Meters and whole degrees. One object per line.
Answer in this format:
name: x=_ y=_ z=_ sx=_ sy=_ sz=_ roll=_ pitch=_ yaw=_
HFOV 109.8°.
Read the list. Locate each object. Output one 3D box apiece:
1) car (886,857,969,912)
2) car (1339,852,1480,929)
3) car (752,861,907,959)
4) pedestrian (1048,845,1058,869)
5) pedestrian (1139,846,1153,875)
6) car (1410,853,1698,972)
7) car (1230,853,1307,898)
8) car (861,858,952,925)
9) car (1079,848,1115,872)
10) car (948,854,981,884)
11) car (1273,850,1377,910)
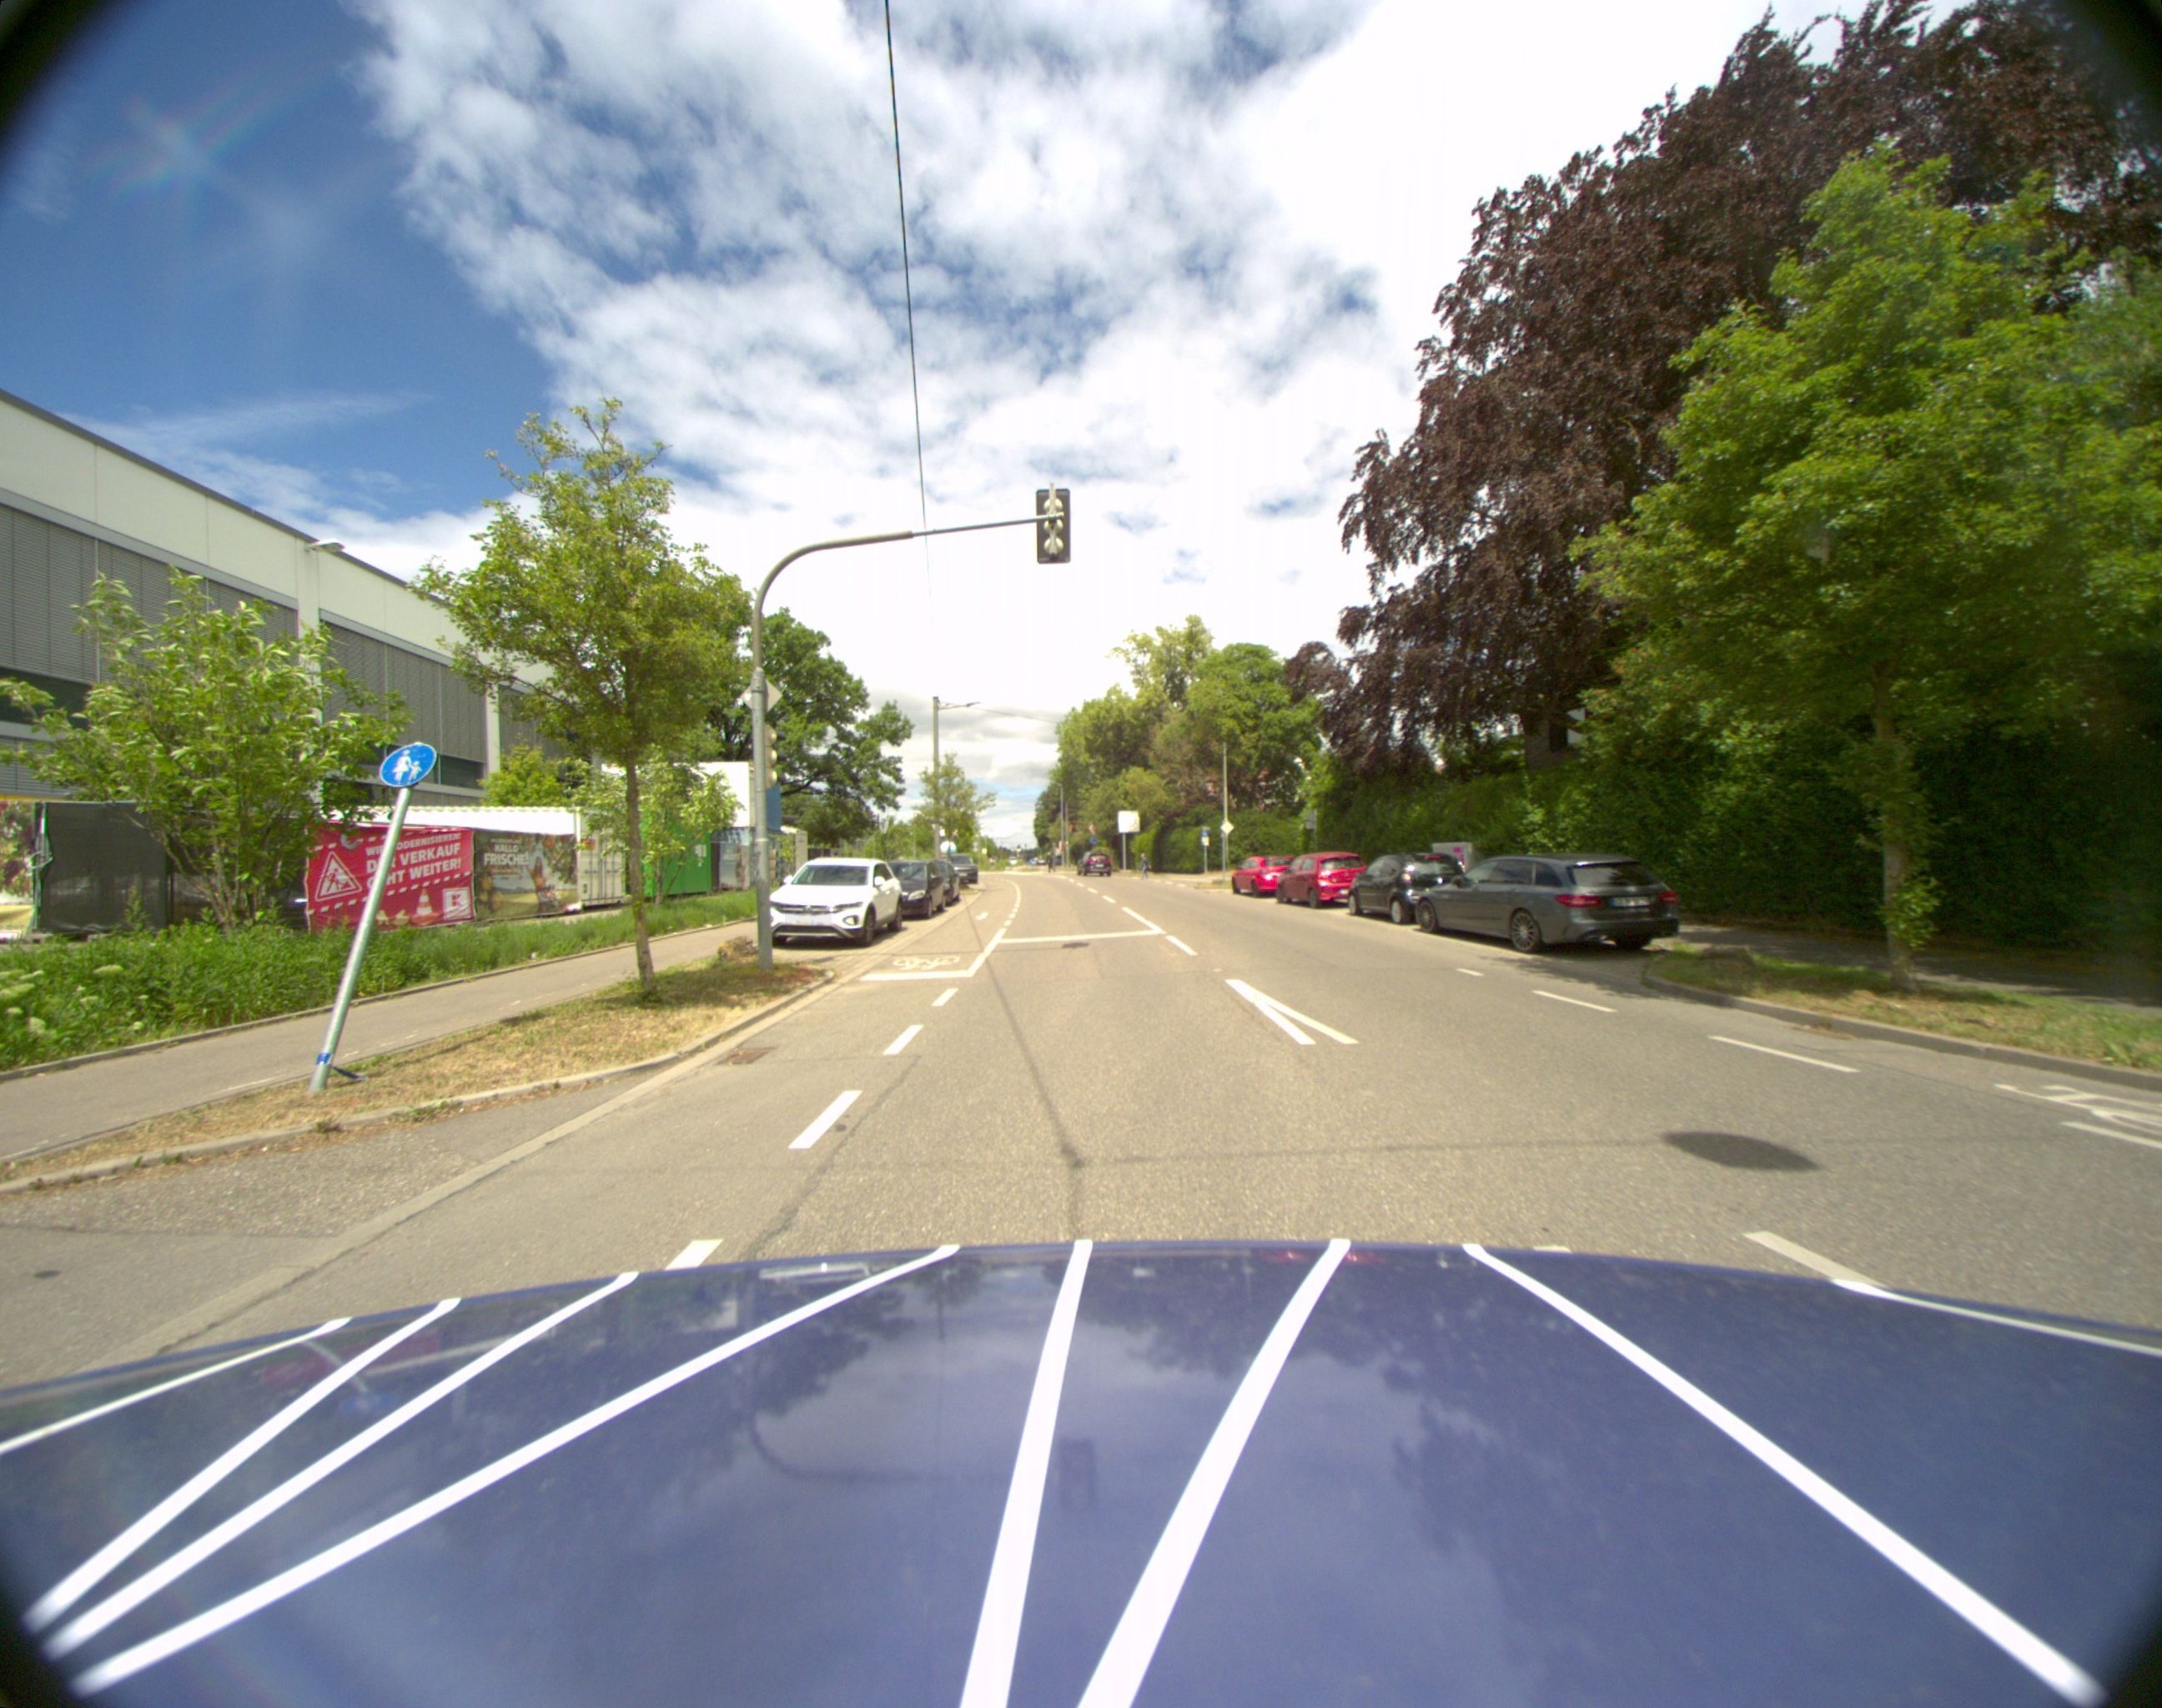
car: x=-4.902 y=0.940 z=24.819 sx=1.999 sy=1.519 sz=3.809 roll=-3 pitch=1 yaw=-2
car: x=7.056 y=0.721 z=16.671 sx=1.559 sy=1.404 sz=3.192 roll=-3 pitch=1 yaw=-3
car: x=-4.608 y=0.952 z=14.546 sx=1.795 sy=1.522 sz=3.919 roll=1 pitch=1 yaw=-2
pedestrian: x=-2.355 y=0.246 z=64.158 sx=0.699 sy=2.002 sz=0.724 roll=-2 pitch=1 yaw=7
pedestrian: x=3.812 y=0.373 z=44.692 sx=0.554 sy=1.663 sz=0.588 roll=-3 pitch=1 yaw=-16
car: x=7.170 y=0.759 z=12.169 sx=1.687 sy=1.408 sz=4.400 roll=-3 pitch=1 yaw=-3
car: x=6.439 y=0.690 z=26.444 sx=1.530 sy=1.359 sz=3.373 roll=-3 pitch=1 yaw=-6
car: x=-4.529 y=0.913 z=20.172 sx=1.602 sy=1.552 sz=3.790 roll=1 pitch=1 yaw=-1
car: x=1.055 y=0.391 z=52.010 sx=1.851 sy=1.546 sz=3.947 roll=-3 pitch=1 yaw=-7
car: x=-6.571 y=0.786 z=43.027 sx=1.706 sy=1.522 sz=3.997 roll=-3 pitch=1 yaw=-8
car: x=6.711 y=0.664 z=21.245 sx=1.523 sy=1.469 sz=3.323 roll=-3 pitch=1 yaw=-6
